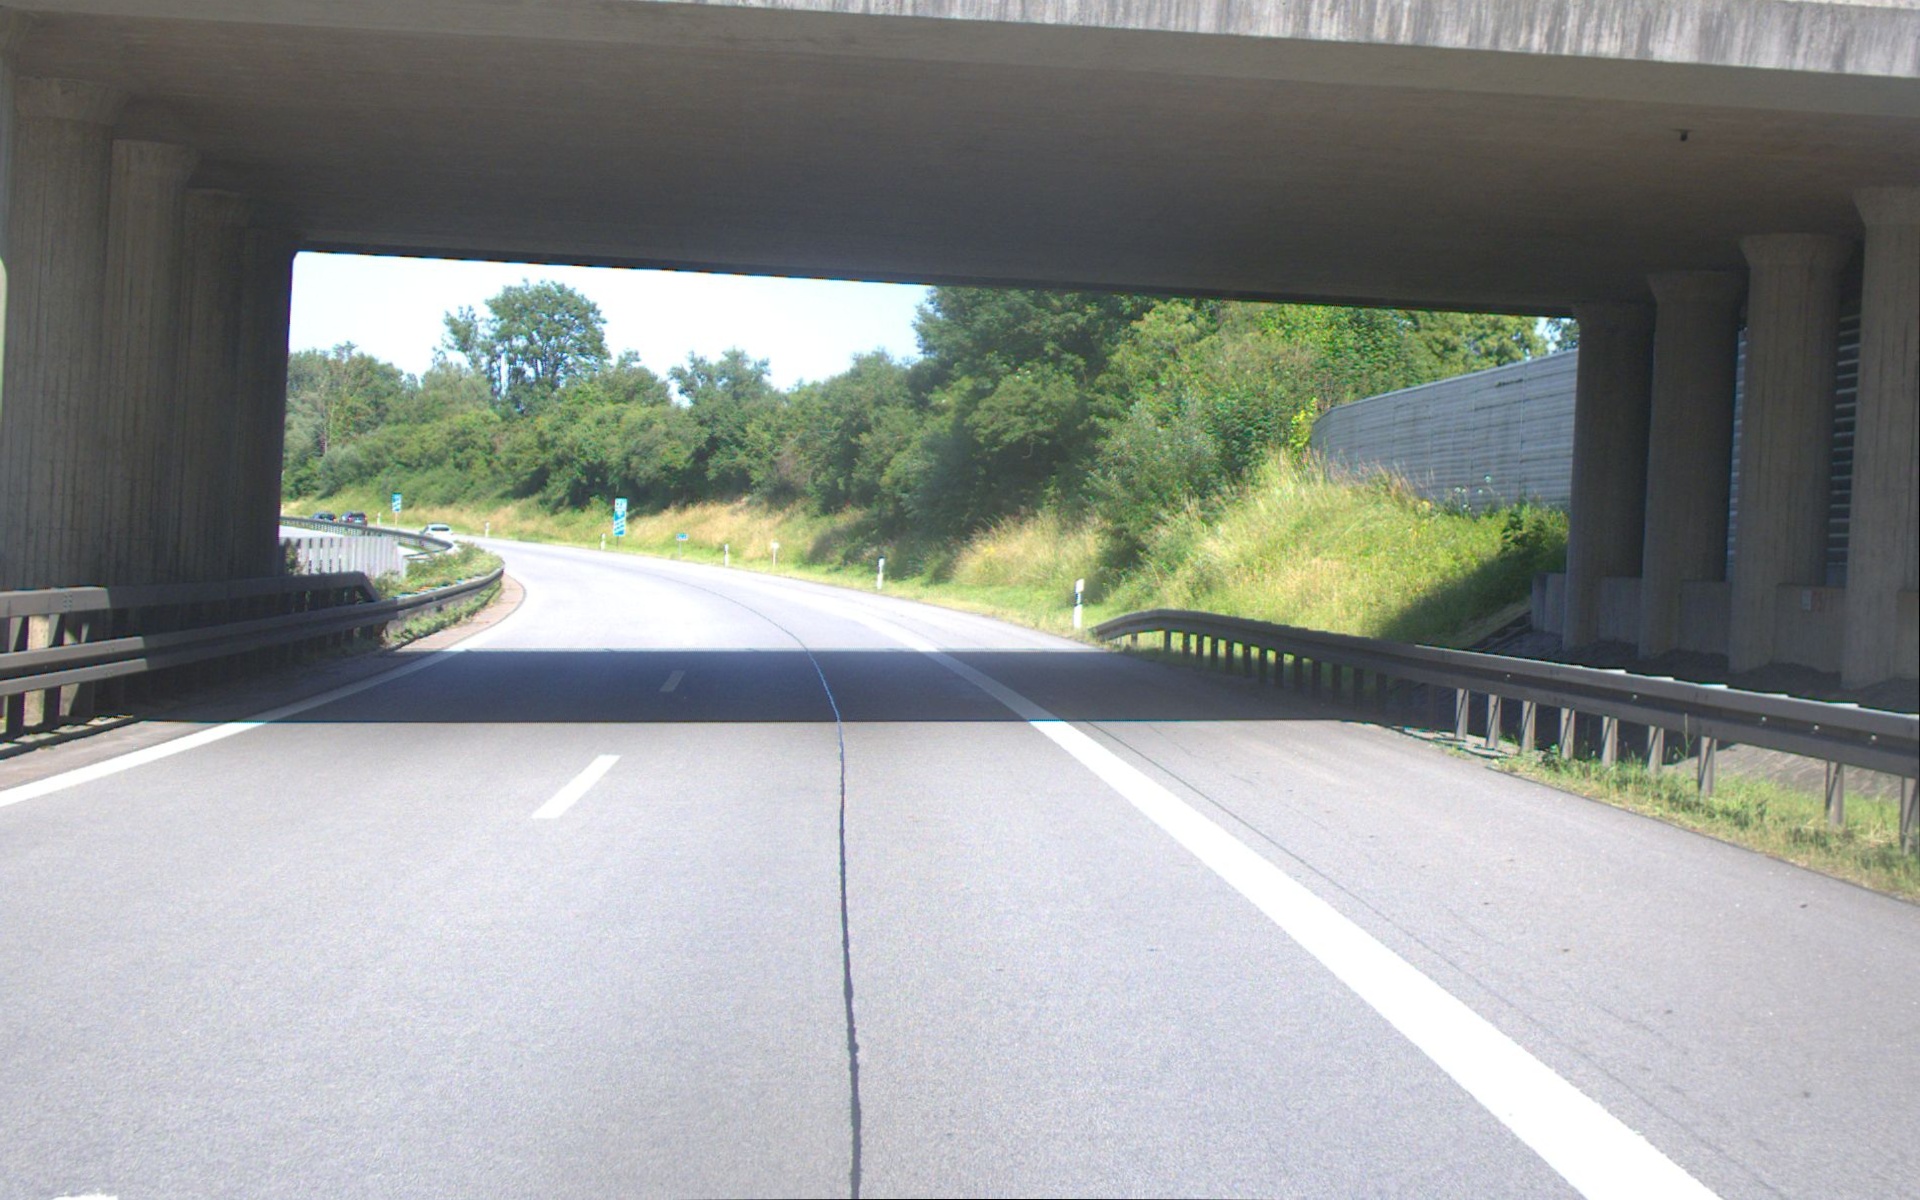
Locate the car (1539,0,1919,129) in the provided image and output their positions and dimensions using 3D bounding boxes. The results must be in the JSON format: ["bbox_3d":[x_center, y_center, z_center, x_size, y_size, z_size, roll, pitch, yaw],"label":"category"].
[{"bbox_3d":[7.484,-5.113,29.985,4.400,1.592,2.000,3,0,-2],"label":"car"}]

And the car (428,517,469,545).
[{"bbox_3d":[-31.439,-4.226,211.260,2.061,1.619,4.001,1,0,-15],"label":"car"}]
